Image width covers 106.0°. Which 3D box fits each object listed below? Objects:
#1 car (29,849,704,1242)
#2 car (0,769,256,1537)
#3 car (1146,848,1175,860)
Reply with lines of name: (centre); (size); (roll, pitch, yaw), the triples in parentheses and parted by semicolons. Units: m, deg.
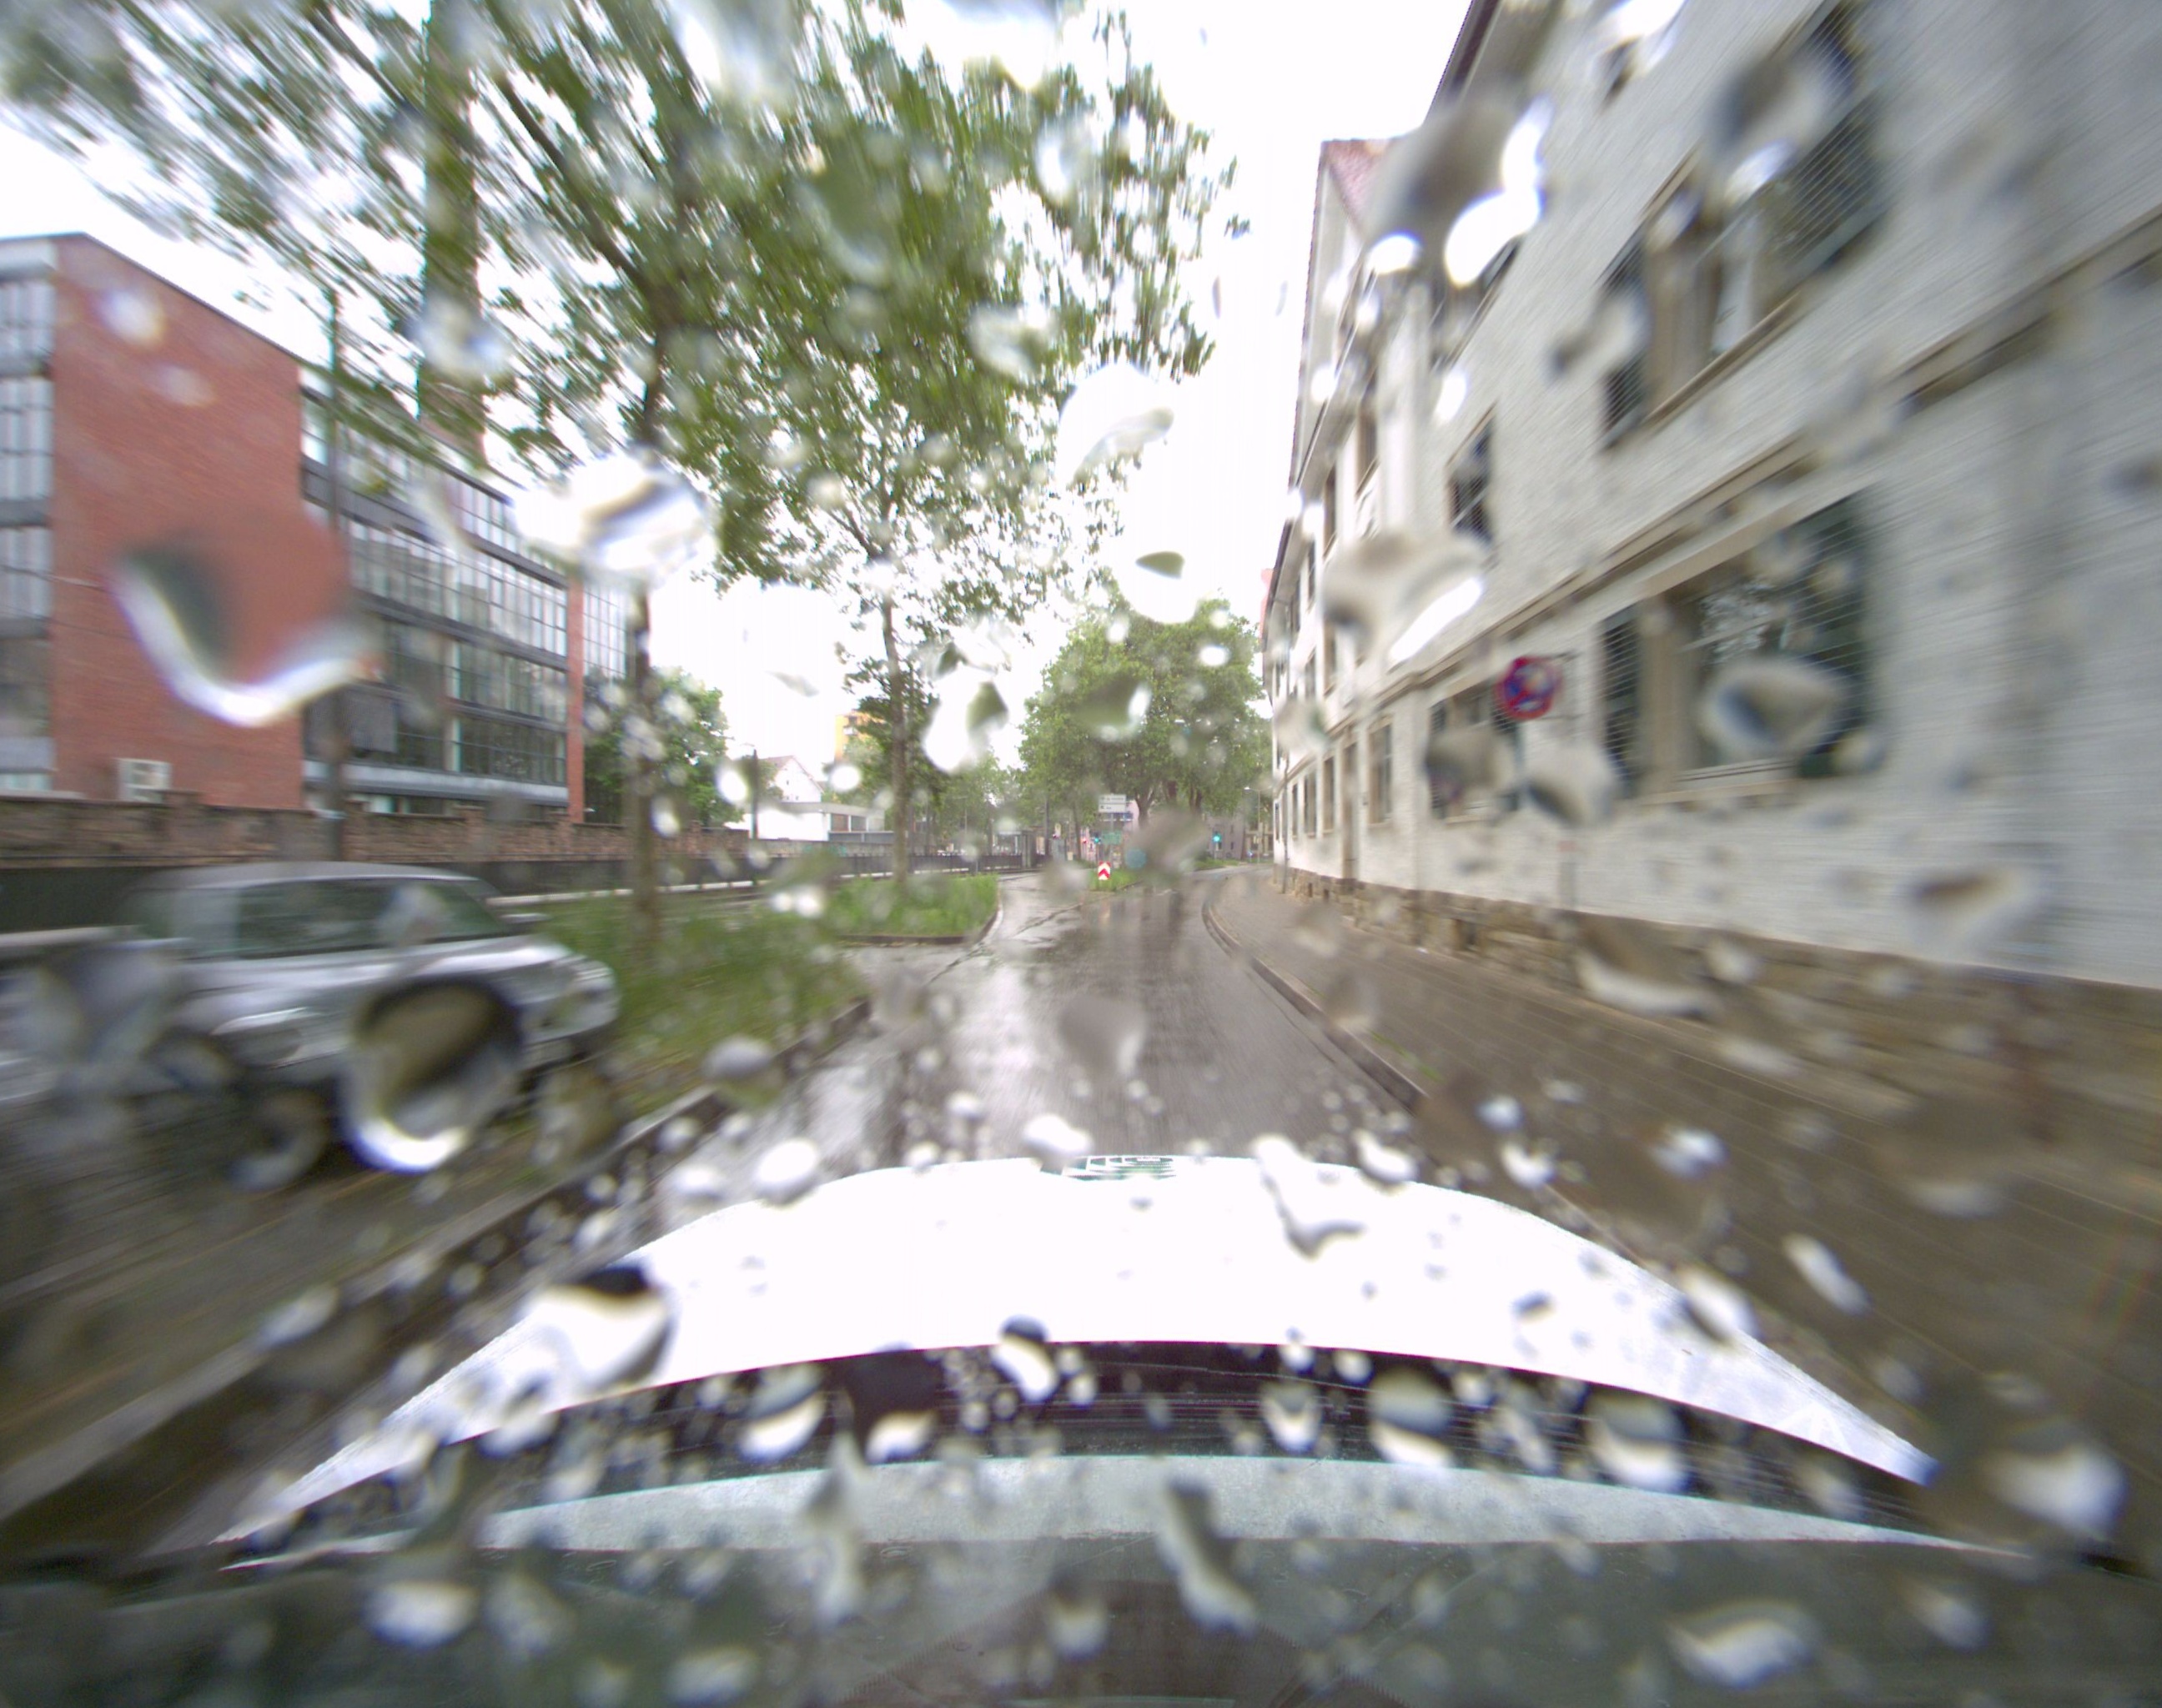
car: (-4.682, 0.802, 5.216); (4.308, 1.512, 1.973); (-1, 2, 31)
car: (-4.655, 0.728, 2.460); (4.474, 1.714, 1.973); (-1, 2, 31)
car: (11.620, 0.020, 119.363); (4.021, 1.597, 1.976); (2, -1, -42)
